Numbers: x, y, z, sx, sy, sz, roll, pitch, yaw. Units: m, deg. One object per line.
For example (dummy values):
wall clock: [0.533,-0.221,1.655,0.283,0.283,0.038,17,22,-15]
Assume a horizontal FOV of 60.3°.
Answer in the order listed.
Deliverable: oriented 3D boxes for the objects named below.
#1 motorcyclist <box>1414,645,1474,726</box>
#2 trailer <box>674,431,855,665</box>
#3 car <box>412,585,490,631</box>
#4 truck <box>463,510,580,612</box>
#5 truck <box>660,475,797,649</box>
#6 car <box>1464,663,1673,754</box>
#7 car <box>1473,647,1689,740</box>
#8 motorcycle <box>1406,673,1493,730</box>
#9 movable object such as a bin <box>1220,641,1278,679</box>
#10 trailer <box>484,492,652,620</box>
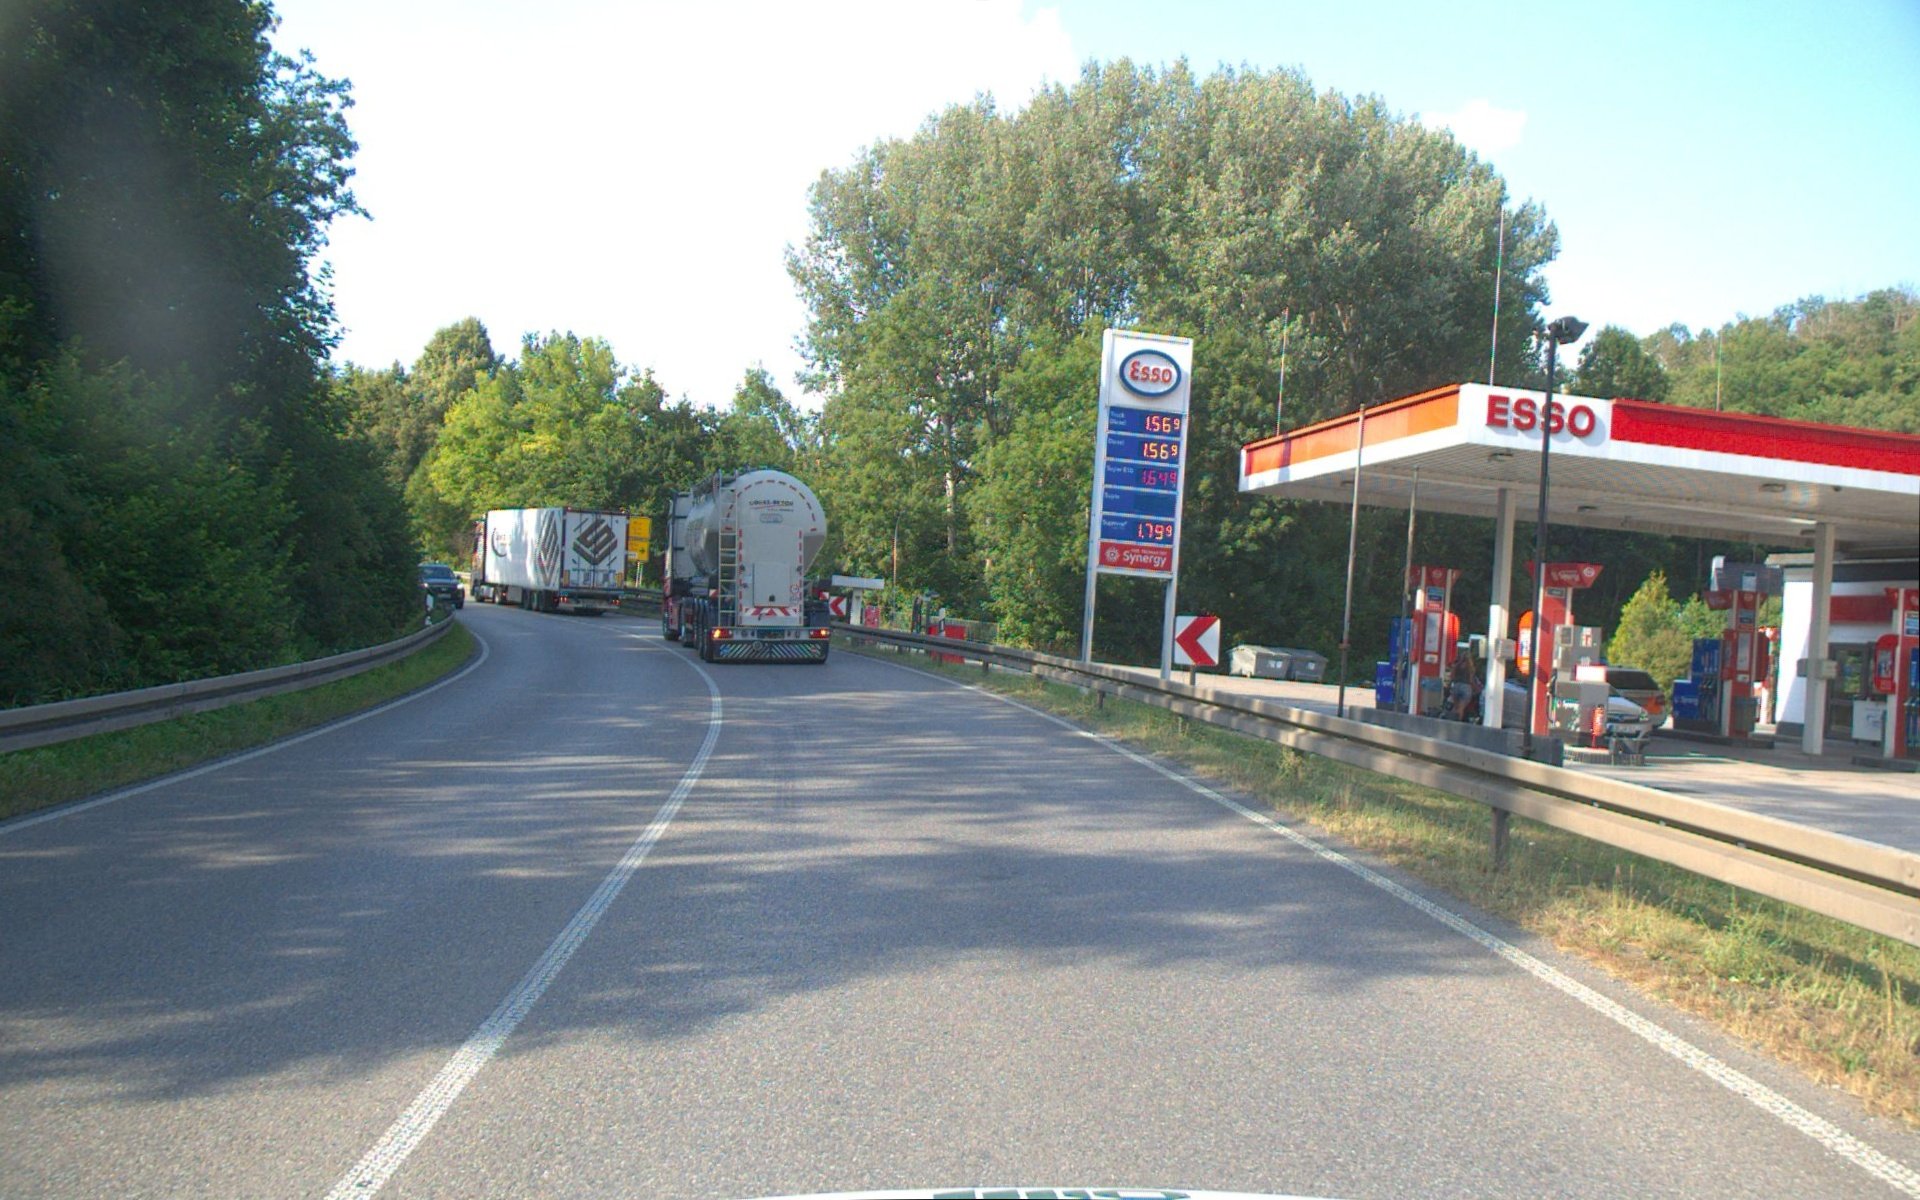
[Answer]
motorcyclist: [10.363,1.826,35.438,0.843,1.632,0.925,4,-1,-11]
trailer: [-4.615,-1.042,37.108,2.837,4.532,9.571,1,0,-14]
car: [-20.196,0.309,65.515,1.850,1.682,4.500,0,1,-32]
truck: [-19.719,-1.740,74.182,3.413,4.157,6.428,3,0,-29]
truck: [-6.038,-0.923,42.406,2.777,4.105,5.871,0,0,-15]
car: [11.601,2.036,31.879,1.809,1.342,4.379,3,0,-10]
car: [13.719,2.014,36.926,2.055,1.656,5.166,3,0,-11]
motorcycle: [10.381,2.139,35.197,0.748,1.029,2.335,3,0,-11]
movable object such as a bin: [12.981,2.674,74.358,1.250,1.444,2.538,7,-1,-24]
trailer: [-16.355,-1.785,67.936,3.504,4.591,12.869,3,0,-27]
